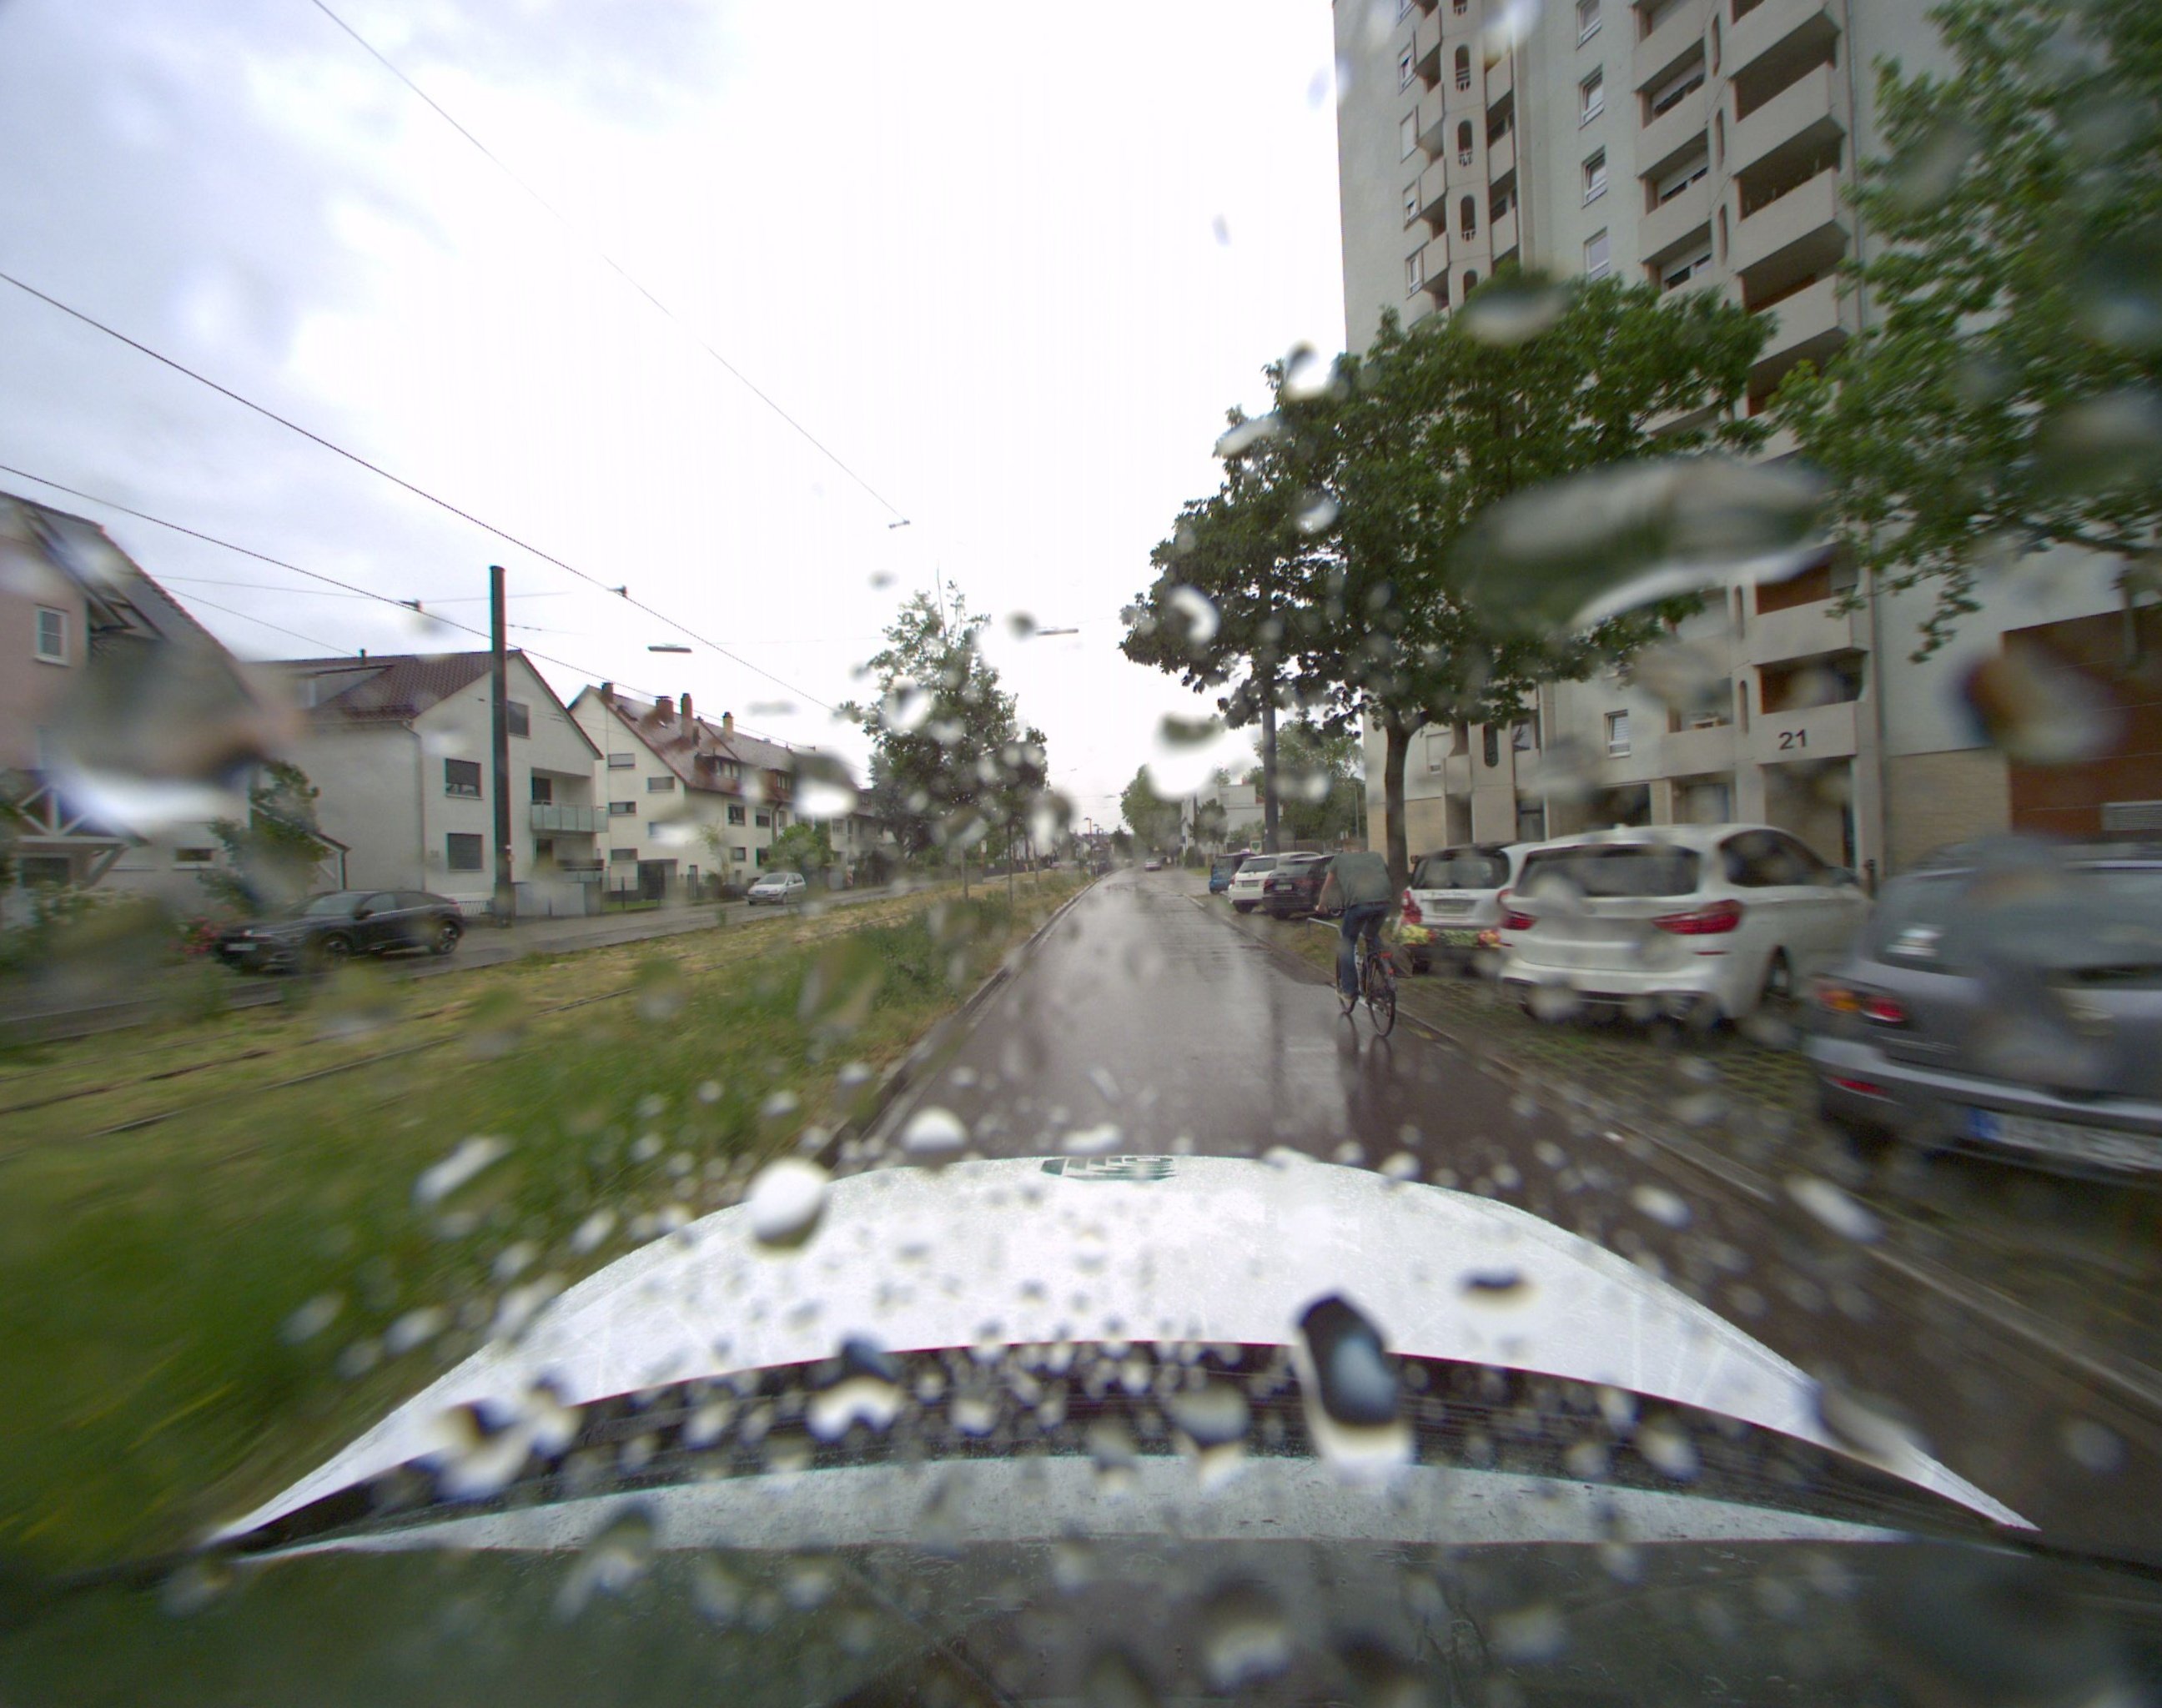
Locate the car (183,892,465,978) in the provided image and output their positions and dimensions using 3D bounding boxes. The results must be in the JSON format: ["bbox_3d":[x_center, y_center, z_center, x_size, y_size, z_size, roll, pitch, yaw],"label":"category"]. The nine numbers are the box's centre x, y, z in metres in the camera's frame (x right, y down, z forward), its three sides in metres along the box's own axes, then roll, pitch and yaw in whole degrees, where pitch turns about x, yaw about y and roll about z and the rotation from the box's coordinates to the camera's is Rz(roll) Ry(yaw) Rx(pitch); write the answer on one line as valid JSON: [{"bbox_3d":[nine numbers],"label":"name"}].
[{"bbox_3d":[-15.264,1.557,16.811,1.830,1.427,4.175,-1,-1,1],"label":"car"}]

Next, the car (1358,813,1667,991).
[{"bbox_3d":[5.601,0.472,10.392,4.204,1.671,1.666,-5,1,-35],"label":"car"}]

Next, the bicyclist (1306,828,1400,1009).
[{"bbox_3d":[2.484,0.569,7.510,0.533,1.560,0.771,-1,-2,-4],"label":"bicyclist"}]

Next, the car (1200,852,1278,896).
[{"bbox_3d":[6.112,0.764,31.511,2.577,1.548,1.585,-2,-1,-38],"label":"car"}]

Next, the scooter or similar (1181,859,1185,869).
[{"bbox_3d":[11.298,1.060,90.098,0.331,1.085,1.399,-1,-1,10],"label":"scooter or similar"}]

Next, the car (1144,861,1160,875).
[{"bbox_3d":[8.062,1.650,92.271,1.642,1.405,4.655,-5,-2,5],"label":"car"}]

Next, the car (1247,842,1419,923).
[{"bbox_3d":[5.906,0.613,18.917,3.962,1.431,1.666,-5,1,-35],"label":"car"}]

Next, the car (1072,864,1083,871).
[{"bbox_3d":[-0.895,3.094,185.584,1.918,1.486,4.008,-1,-1,8],"label":"car"}]

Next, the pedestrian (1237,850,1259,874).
[{"bbox_3d":[10.911,0.520,53.216,0.840,1.517,1.085,0,-2,-26],"label":"pedestrian"}]

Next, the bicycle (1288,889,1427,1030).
[{"bbox_3d":[2.499,0.901,7.610,0.535,1.093,1.946,-1,-1,-3],"label":"bicycle"}]

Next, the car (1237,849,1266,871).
[{"bbox_3d":[14.595,0.457,69.946,1.953,1.784,4.905,-1,0,6],"label":"car"}]

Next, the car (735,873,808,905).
[{"bbox_3d":[-14.639,1.612,38.686,1.986,1.414,3.658,-1,-1,1],"label":"car"}]

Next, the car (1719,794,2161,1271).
[{"bbox_3d":[5.169,0.480,4.018,4.478,1.410,1.750,-5,1,-33],"label":"car"}]

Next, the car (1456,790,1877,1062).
[{"bbox_3d":[5.461,0.397,7.360,4.483,1.671,1.792,-5,1,-37],"label":"car"}]

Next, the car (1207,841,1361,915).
[{"bbox_3d":[5.555,0.606,22.040,4.206,1.547,1.745,-5,1,-38],"label":"car"}]
